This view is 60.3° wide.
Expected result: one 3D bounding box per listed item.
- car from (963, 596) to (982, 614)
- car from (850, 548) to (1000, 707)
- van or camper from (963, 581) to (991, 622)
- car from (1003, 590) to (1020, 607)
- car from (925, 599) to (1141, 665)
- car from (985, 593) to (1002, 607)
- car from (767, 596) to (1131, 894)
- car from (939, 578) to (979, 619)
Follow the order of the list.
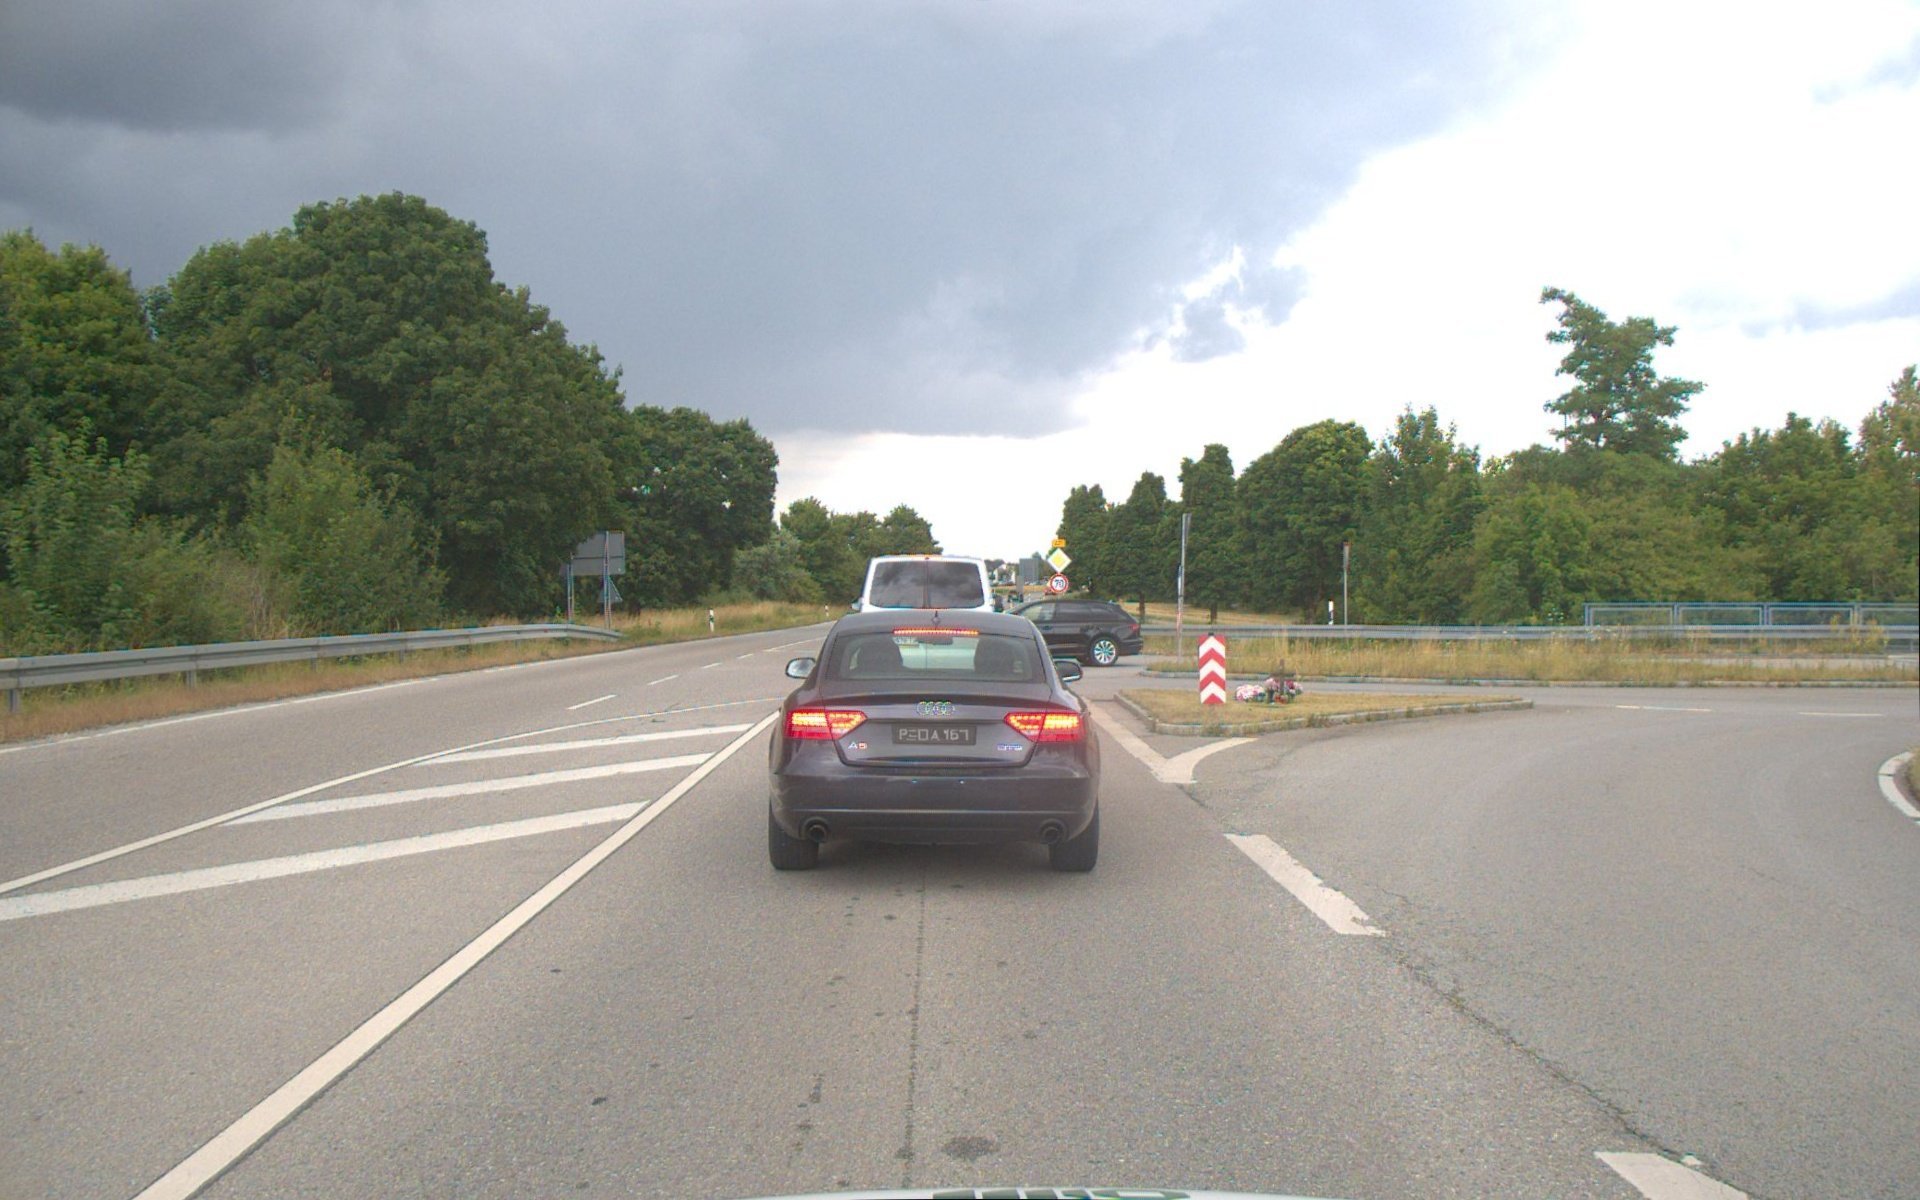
[{"bbox_3d":[0.974,0.408,128.417,1.231,1.377,3.468,0,0,5],"label":"car"},{"bbox_3d":[-0.457,0.315,22.187,1.801,1.915,3.999,1,0,-1],"label":"car"},{"bbox_3d":[1.508,0.122,144.599,2.292,3.542,5.719,0,0,1],"label":"van or camper"},{"bbox_3d":[6.353,-0.191,204.747,1.953,2.049,3.999,0,0,-1],"label":"car"},{"bbox_3d":[1.560,0.678,36.113,4.507,1.398,1.824,0,0,-6],"label":"car"},{"bbox_3d":[3.544,-0.013,176.452,1.683,1.477,4.000,1,0,0],"label":"car"},{"bbox_3d":[-0.079,0.698,10.020,1.746,1.400,3.999,1,0,-1],"label":"car"},{"bbox_3d":[-0.021,-0.071,87.566,1.952,2.125,4.001,0,0,2],"label":"car"}]
